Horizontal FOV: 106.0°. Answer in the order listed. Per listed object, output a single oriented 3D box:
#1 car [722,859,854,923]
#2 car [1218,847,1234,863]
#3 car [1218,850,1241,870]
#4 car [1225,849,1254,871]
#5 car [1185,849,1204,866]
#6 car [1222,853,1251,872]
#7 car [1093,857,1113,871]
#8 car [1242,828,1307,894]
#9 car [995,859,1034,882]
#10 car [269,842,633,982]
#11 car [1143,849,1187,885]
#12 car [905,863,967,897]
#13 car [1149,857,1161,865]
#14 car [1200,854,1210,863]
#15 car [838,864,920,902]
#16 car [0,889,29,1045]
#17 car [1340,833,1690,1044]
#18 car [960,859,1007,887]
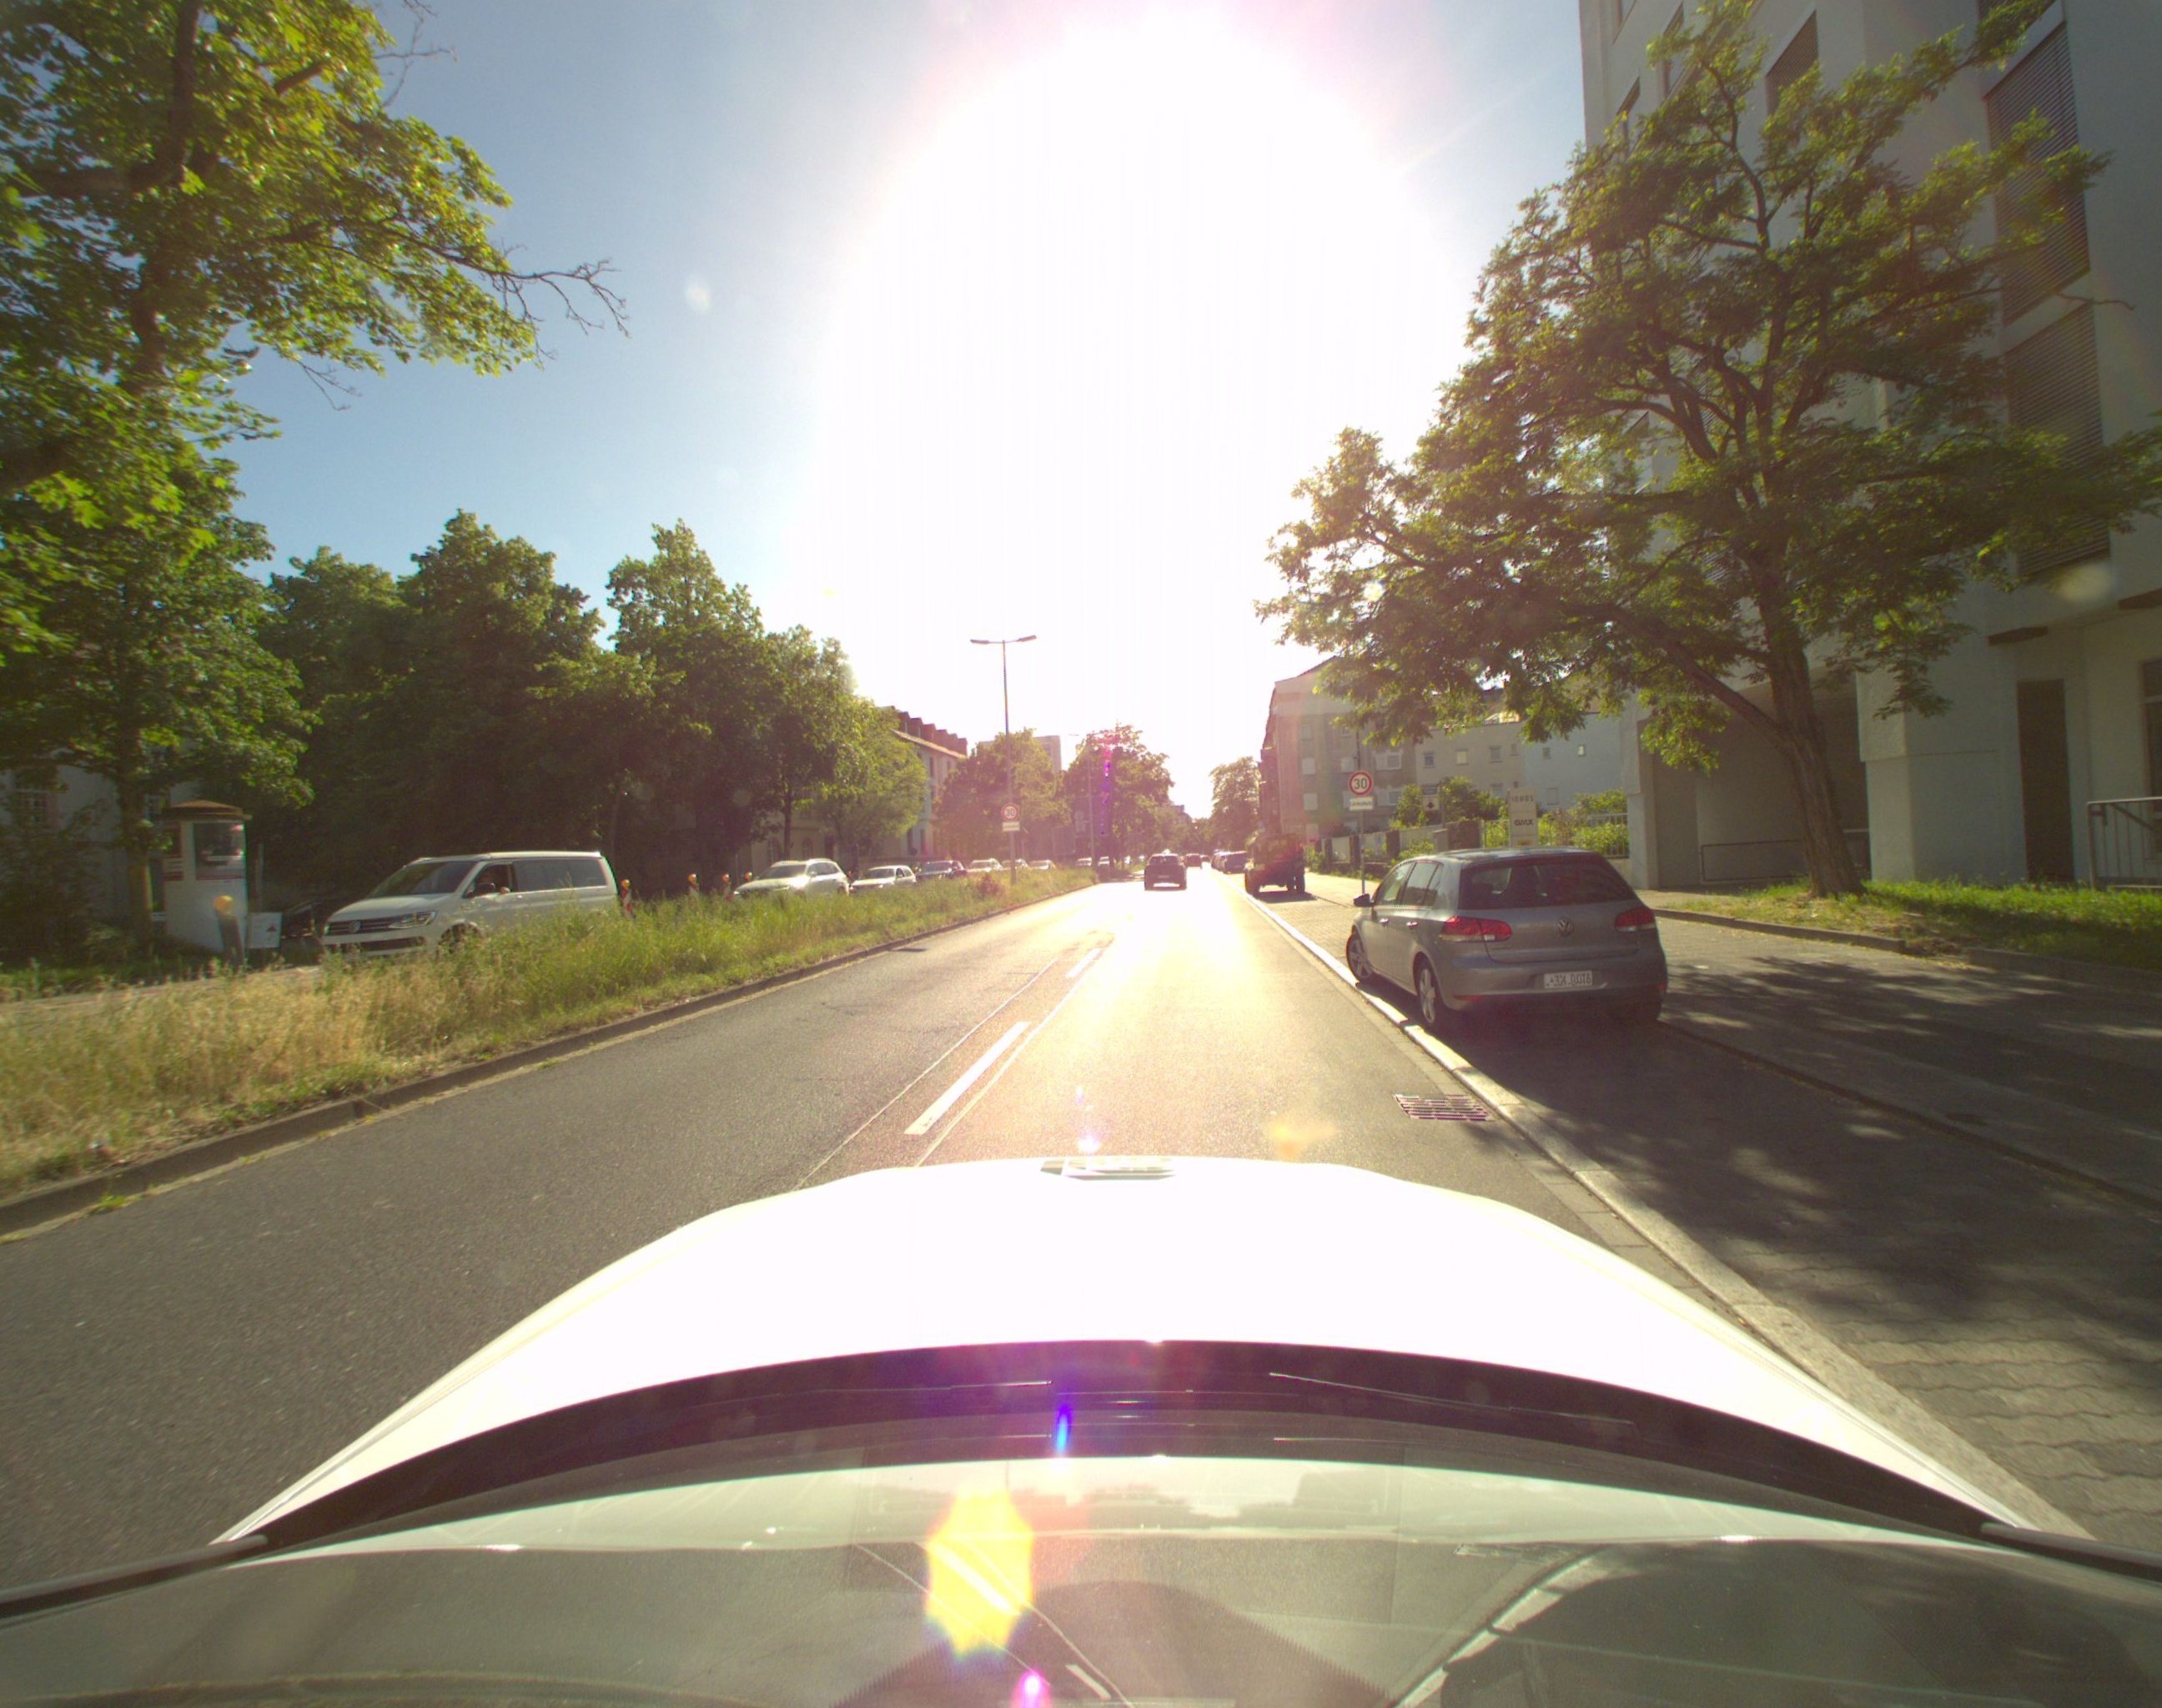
[{"bbox_3d":[-9.093,1.074,25.812,1.786,1.743,5.042,-3,-1,7],"label":"car"},{"bbox_3d":[17.455,0.135,97.910,1.807,1.844,4.377,-3,0,11],"label":"car"},{"bbox_3d":[12.433,0.464,68.403,1.600,1.446,3.666,-6,0,7],"label":"car"},{"bbox_3d":[12.341,0.451,63.576,1.660,1.460,3.991,-6,0,4],"label":"car"},{"bbox_3d":[11.357,0.326,81.703,1.782,1.520,3.858,-2,0,8],"label":"car"},{"bbox_3d":[11.191,0.585,58.934,1.659,1.182,3.908,-6,0,6],"label":"car"},{"bbox_3d":[2.663,1.215,98.837,1.890,1.626,4.546,-4,-1,7],"label":"car"},{"bbox_3d":[6.661,0.262,28.517,1.651,2.014,4.786,-4,-1,8],"label":"car"},{"bbox_3d":[-4.597,1.188,56.720,1.785,1.519,4.267,-2,-2,8],"label":"car"},{"bbox_3d":[-10.837,0.888,14.684,2.221,2.028,5.027,-2,-1,7],"label":"car"},{"bbox_3d":[3.798,0.582,36.892,1.885,1.519,4.006,-1,0,5],"label":"car"},{"bbox_3d":[-7.245,1.277,41.133,1.786,1.519,4.453,-2,-1,7],"label":"car"},{"bbox_3d":[14.834,1.407,163.249,1.745,1.519,3.875,-3,-1,16],"label":"car"},{"bbox_3d":[24.849,0.876,163.424,1.909,1.640,4.010,-3,0,9],"label":"car"},{"bbox_3d":[-8.141,1.143,33.292,1.786,1.352,4.266,-2,-1,7],"label":"car"},{"bbox_3d":[-11.735,1.141,6.262,1.786,1.519,4.087,-2,-1,7],"label":"car"},{"bbox_3d":[3.769,0.573,7.940,1.629,1.448,4.165,-3,1,8],"label":"car"},{"bbox_3d":[-5.863,1.116,49.420,1.786,1.519,4.266,-2,-1,7],"label":"car"}]
